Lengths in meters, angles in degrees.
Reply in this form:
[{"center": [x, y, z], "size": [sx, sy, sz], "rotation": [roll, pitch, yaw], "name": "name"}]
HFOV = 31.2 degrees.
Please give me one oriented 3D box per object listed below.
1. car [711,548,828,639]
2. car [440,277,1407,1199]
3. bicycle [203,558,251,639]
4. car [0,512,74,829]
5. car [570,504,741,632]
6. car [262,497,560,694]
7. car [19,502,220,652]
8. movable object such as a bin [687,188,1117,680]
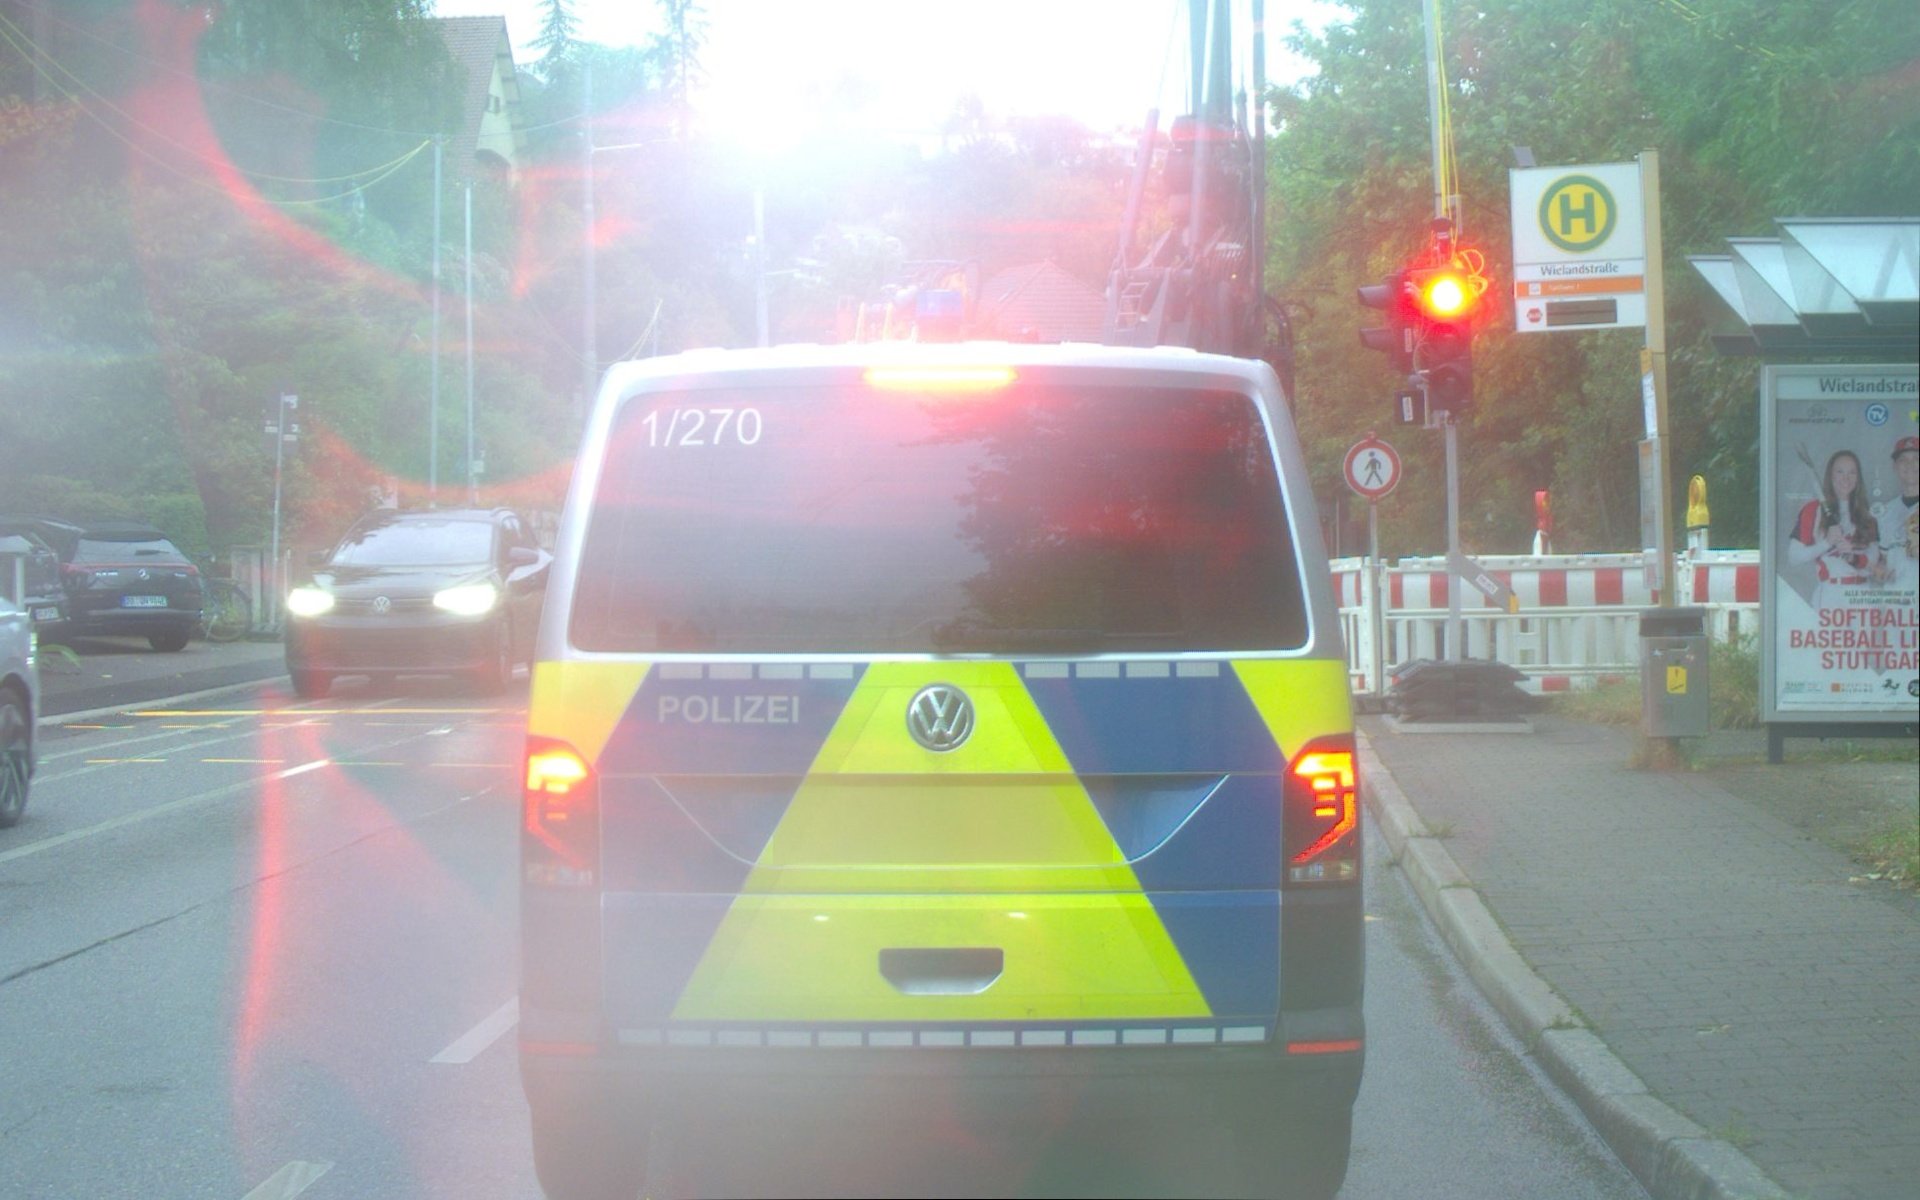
[{"center": [-3.268, -0.143, 59.441], "size": [1.764, 1.458, 3.886], "rotation": [1, 1, 0], "name": "car"}, {"center": [-0.097, 0.353, 8.824], "size": [1.893, 2.043, 4.000], "rotation": [1, 1, -1], "name": "car"}, {"center": [-8.446, -0.029, 39.584], "size": [0.462, 0.894, 1.634], "rotation": [0, 1, -15], "name": "bicycle"}, {"center": [-5.570, 0.347, 15.357], "size": [1.853, 1.522, 4.819], "rotation": [0, 1, 2], "name": "car"}, {"center": [-4.182, -0.467, 47.878], "size": [1.993, 1.668, 4.688], "rotation": [1, 1, -1], "name": "car"}, {"center": [-4.849, -0.073, 30.898], "size": [1.867, 1.616, 4.164], "rotation": [1, 1, 2], "name": "car"}, {"center": [-9.327, -0.289, 37.967], "size": [1.765, 1.481, 3.743], "rotation": [1, 3, -20], "name": "car"}, {"center": [-0.424, -1.467, 31.623], "size": [2.832, 4.163, 4.378], "rotation": [1, 1, 15], "name": "movable object such as a bin"}]
